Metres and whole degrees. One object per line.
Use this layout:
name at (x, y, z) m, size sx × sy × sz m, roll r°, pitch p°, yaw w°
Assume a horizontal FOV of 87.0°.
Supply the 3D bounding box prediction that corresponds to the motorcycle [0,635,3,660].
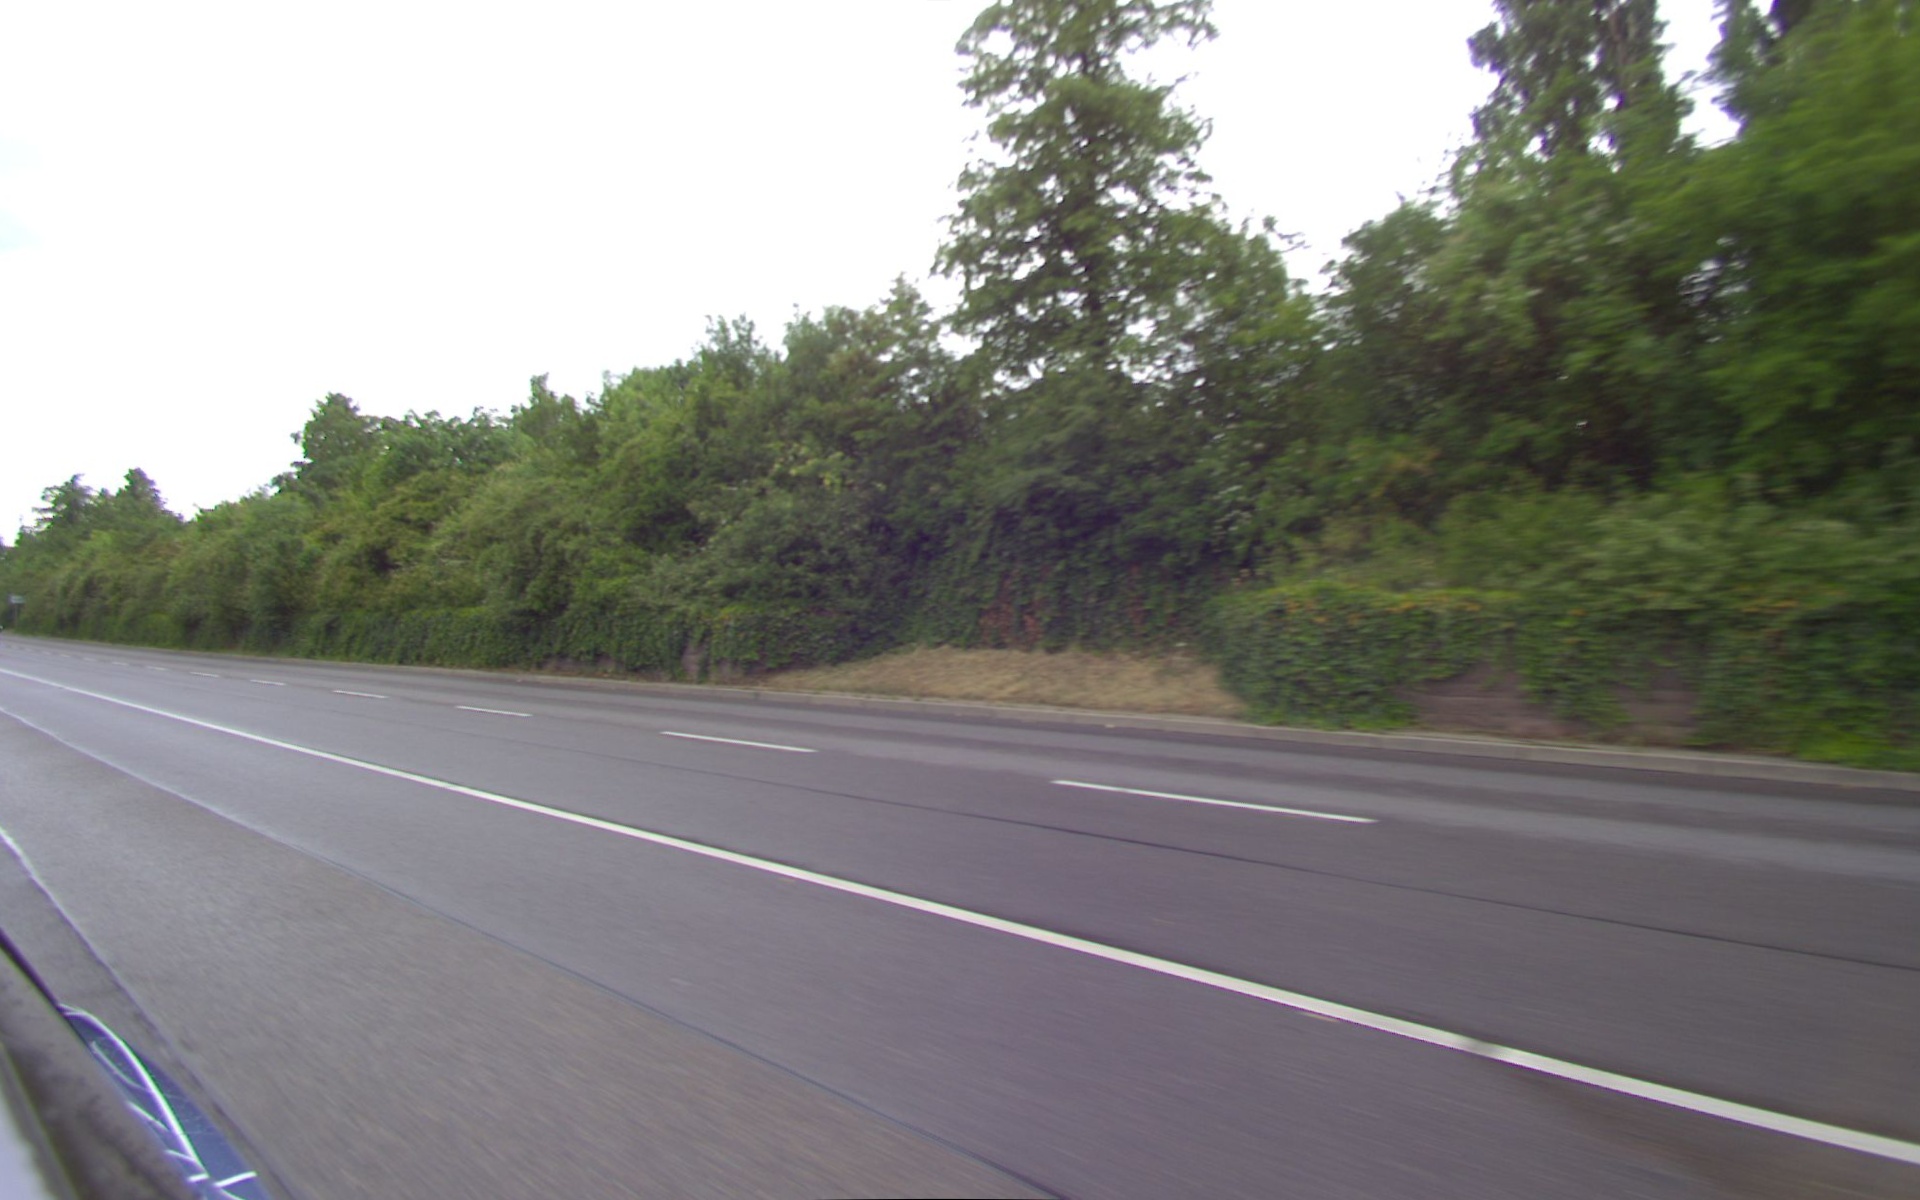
motorcycle at (-44.618, 2.172, 46.444) m, size 2.230 × 1.140 × 0.797 m, roll -1°, pitch -1°, yaw 42°
